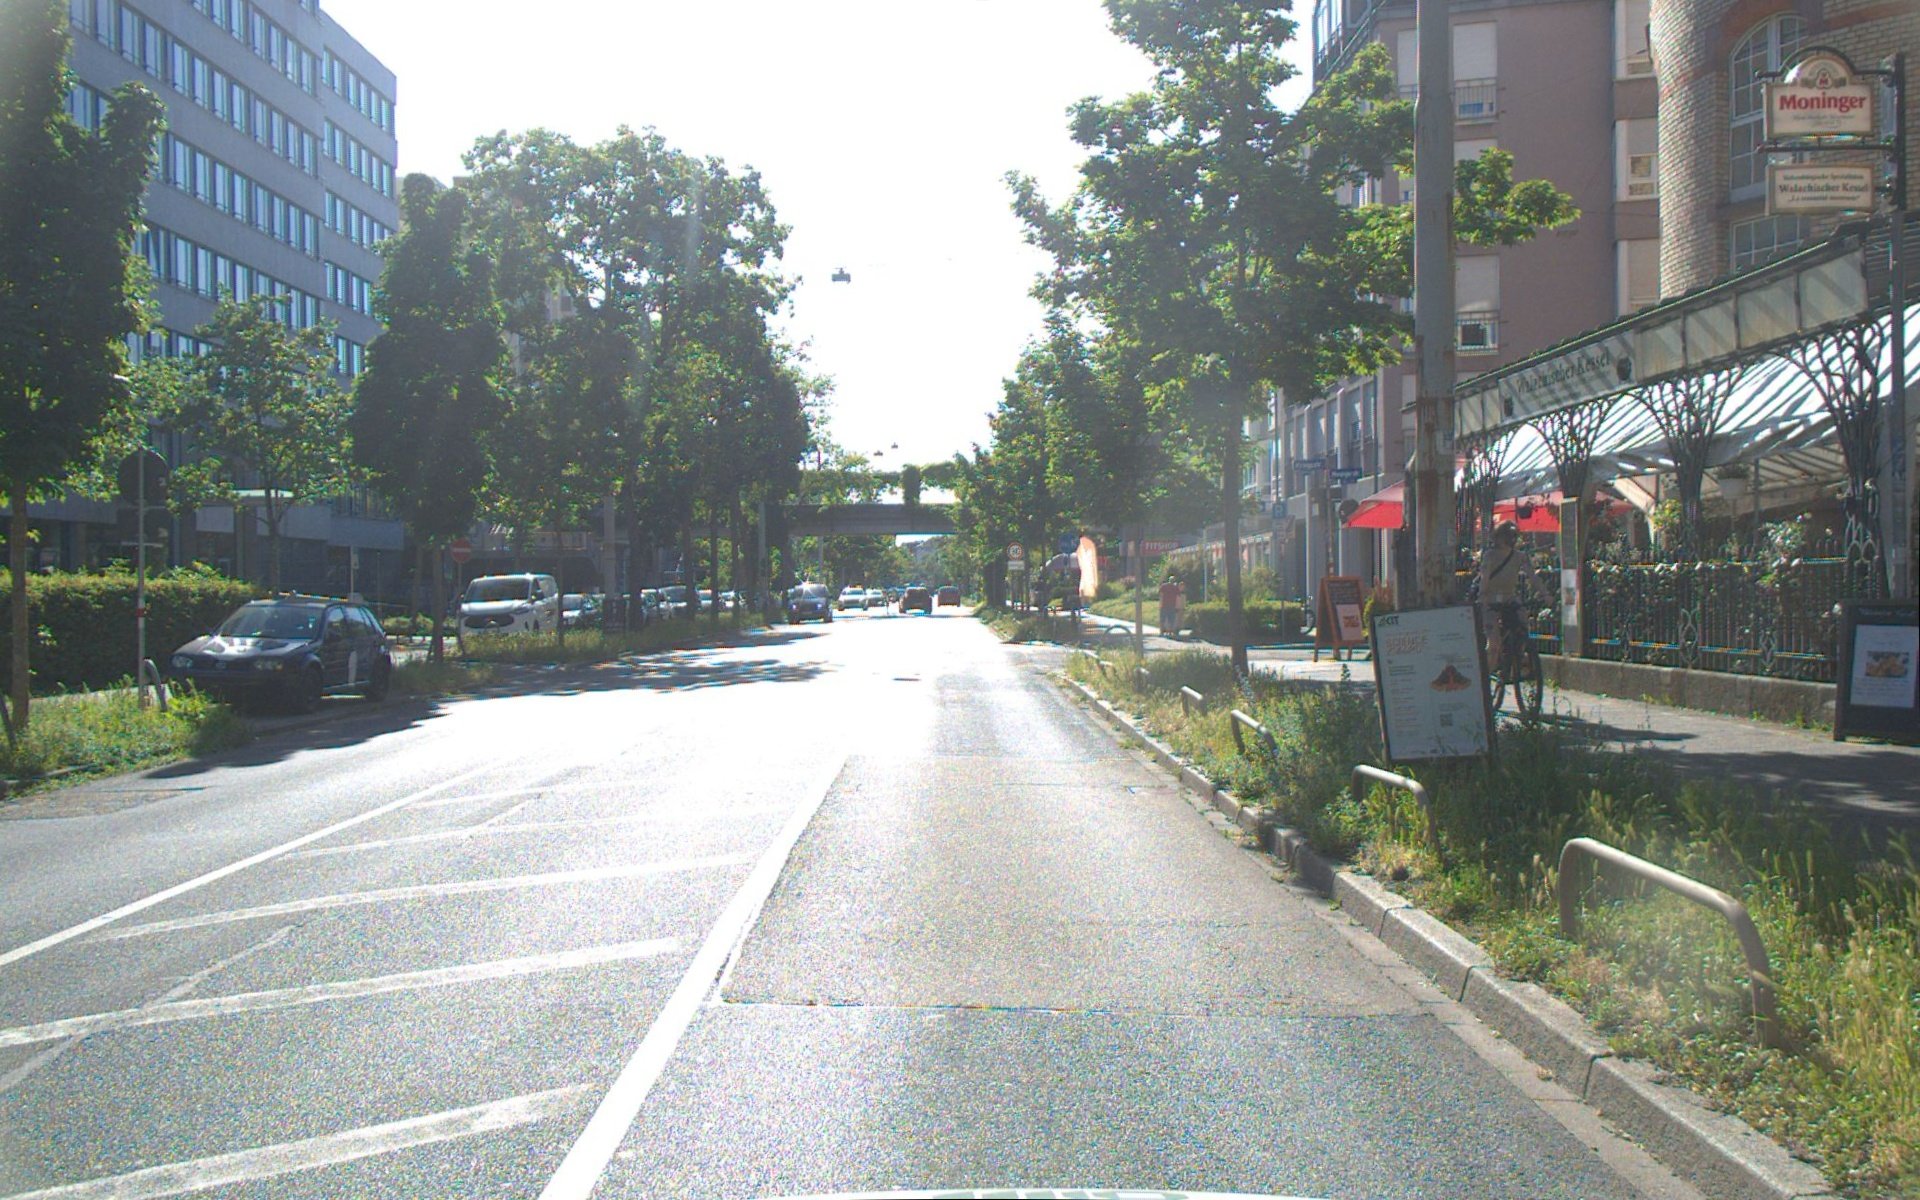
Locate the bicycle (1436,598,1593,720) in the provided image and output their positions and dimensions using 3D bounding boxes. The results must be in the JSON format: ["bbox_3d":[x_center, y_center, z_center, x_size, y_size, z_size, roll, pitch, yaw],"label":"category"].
[{"bbox_3d":[5.091,0.513,15.329,0.671,1.045,2.095,-1,0,-2],"label":"bicycle"}]

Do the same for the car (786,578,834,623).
[{"bbox_3d":[-6.763,-0.001,75.129,1.818,1.856,4.608,-3,1,-2],"label":"car"}]

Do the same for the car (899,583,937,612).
[{"bbox_3d":[-2.525,-0.171,98.825,1.947,1.628,4.135,-1,1,-6],"label":"car"}]

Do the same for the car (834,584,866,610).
[{"bbox_3d":[-7.241,-0.196,109.365,1.818,1.595,4.714,-3,1,-2],"label":"car"}]

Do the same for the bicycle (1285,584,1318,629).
[{"bbox_3d":[9.032,0.163,43.802,0.670,1.045,2.205,-2,3,7],"label":"bicycle"}]

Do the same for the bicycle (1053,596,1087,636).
[{"bbox_3d":[3.188,0.448,47.882,0.578,1.084,2.024,-1,1,15],"label":"bicycle"}]

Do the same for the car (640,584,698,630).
[{"bbox_3d":[-12.437,0.252,70.899,1.818,1.882,4.560,0,1,-2],"label":"car"}]

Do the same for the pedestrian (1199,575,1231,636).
[{"bbox_3d":[7.037,0.150,45.702,0.641,1.631,0.602,-4,0,-7],"label":"pedestrian"}]

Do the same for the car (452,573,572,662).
[{"bbox_3d":[-11.811,0.404,43.933,1.942,2.112,5.193,-3,1,-3],"label":"car"}]

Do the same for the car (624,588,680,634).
[{"bbox_3d":[-12.034,0.407,64.866,1.820,1.713,4.659,0,1,-6],"label":"car"}]

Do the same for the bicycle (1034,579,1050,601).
[{"bbox_3d":[3.932,-0.481,79.279,0.577,1.045,1.859,-1,0,-2],"label":"bicycle"}]

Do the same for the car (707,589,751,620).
[{"bbox_3d":[-12.295,0.216,88.280,1.818,1.549,4.317,0,1,-2],"label":"car"}]

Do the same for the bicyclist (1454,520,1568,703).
[{"bbox_3d":[5.081,0.103,15.305,0.686,1.627,0.955,-1,0,-2],"label":"bicyclist"}]

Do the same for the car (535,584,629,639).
[{"bbox_3d":[-11.249,0.303,49.485,1.745,1.549,4.319,0,1,1],"label":"car"}]

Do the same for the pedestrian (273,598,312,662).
[{"bbox_3d":[-21.695,0.967,53.765,0.818,2.049,1.008,0,0,-1],"label":"pedestrian"}]

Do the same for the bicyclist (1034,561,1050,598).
[{"bbox_3d":[3.928,-0.983,79.226,0.654,1.725,0.889,-1,0,-2],"label":"bicyclist"}]

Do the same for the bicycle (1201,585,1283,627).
[{"bbox_3d":[7.824,0.163,45.931,2.150,1.045,0.687,-3,2,1],"label":"bicycle"}]

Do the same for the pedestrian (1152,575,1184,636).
[{"bbox_3d":[5.692,0.150,45.354,0.641,1.631,0.602,-4,0,-7],"label":"pedestrian"}]

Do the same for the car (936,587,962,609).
[{"bbox_3d":[-0.802,-0.157,120.006,1.817,1.549,4.319,0,1,1],"label":"car"}]

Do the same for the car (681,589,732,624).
[{"bbox_3d":[-12.044,0.266,78.682,1.818,1.595,3.871,0,1,0],"label":"car"}]

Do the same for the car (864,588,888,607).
[{"bbox_3d":[-7.076,-0.253,139.855,1.818,1.465,4.317,-3,1,-2],"label":"car"}]

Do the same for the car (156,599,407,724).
[{"bbox_3d":[-9.059,0.755,22.447,1.677,1.484,4.072,0,1,1],"label":"car"}]
